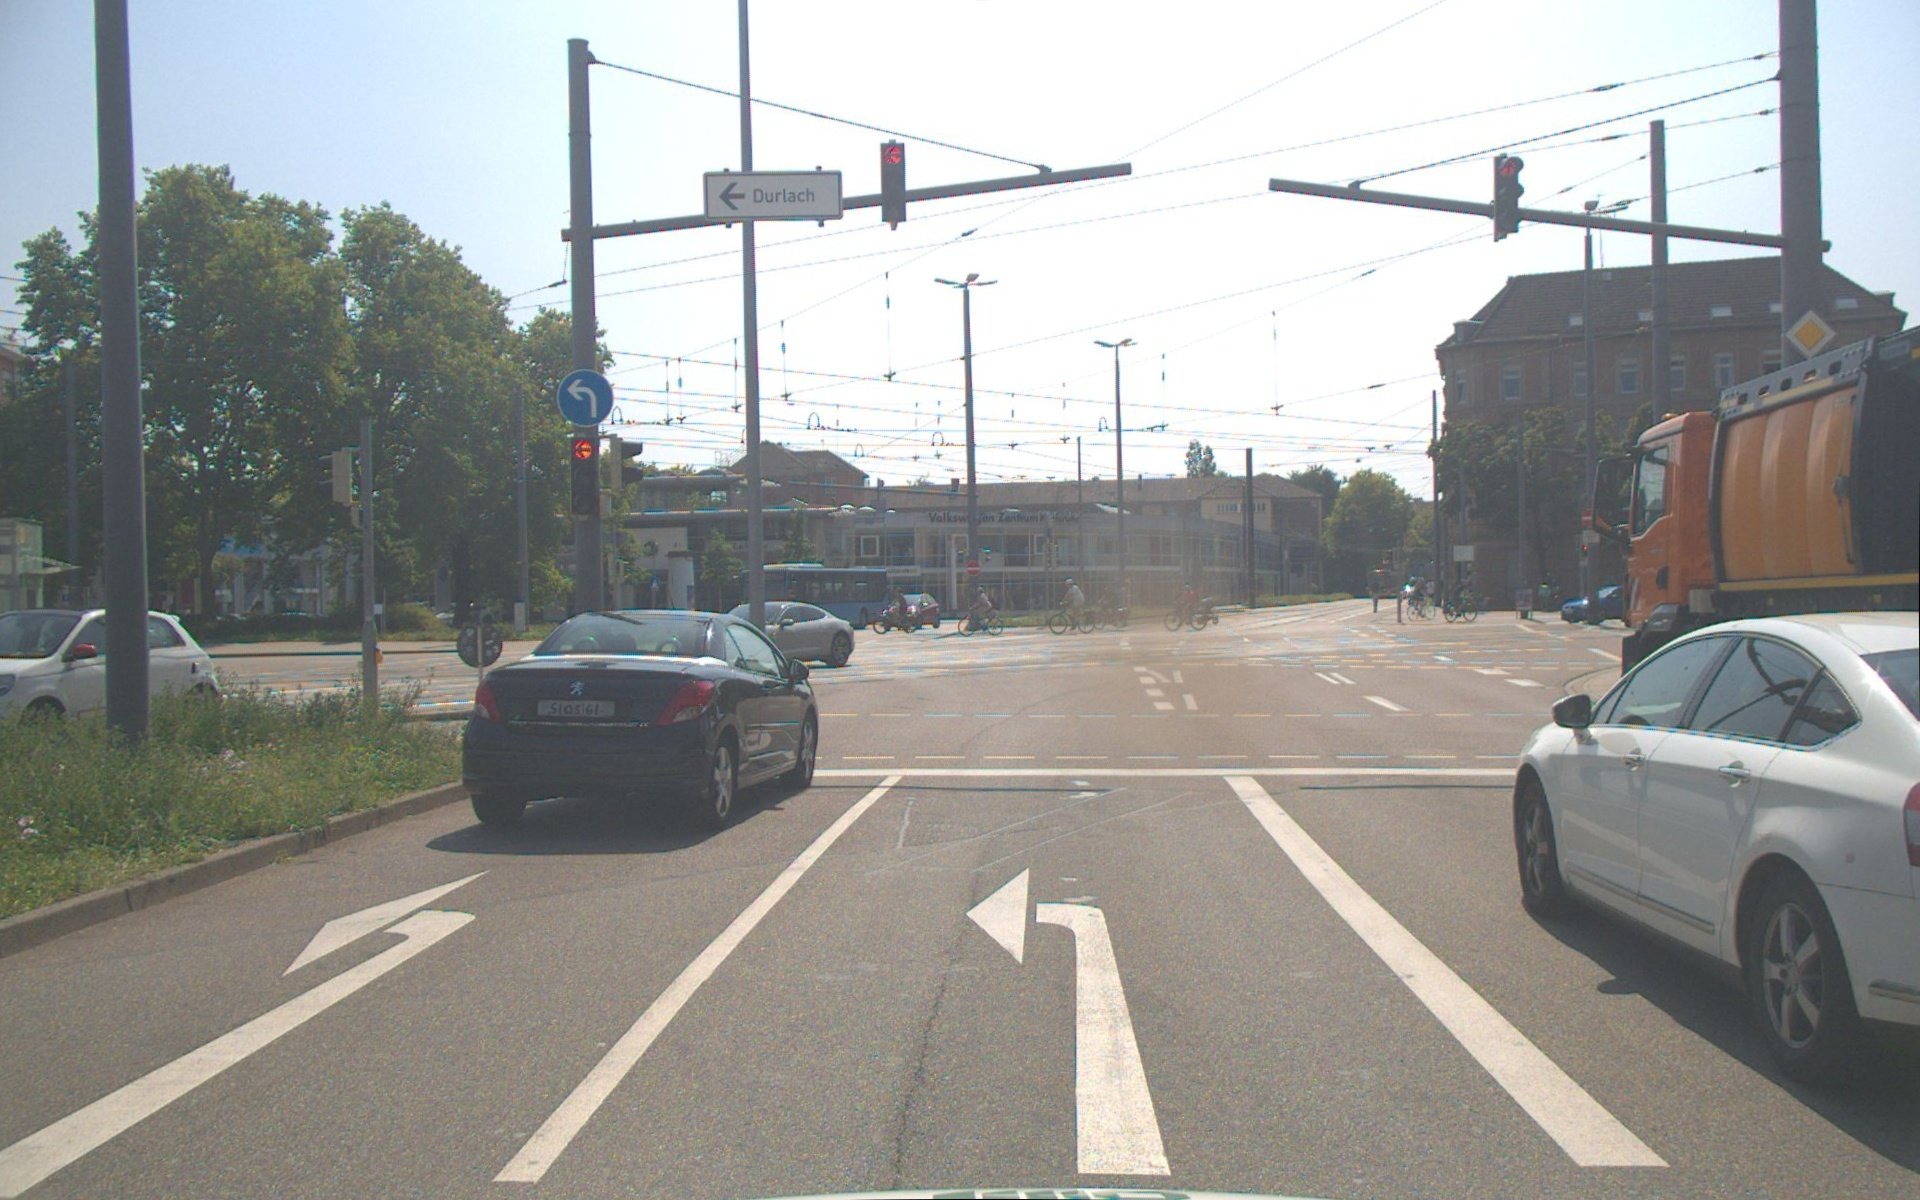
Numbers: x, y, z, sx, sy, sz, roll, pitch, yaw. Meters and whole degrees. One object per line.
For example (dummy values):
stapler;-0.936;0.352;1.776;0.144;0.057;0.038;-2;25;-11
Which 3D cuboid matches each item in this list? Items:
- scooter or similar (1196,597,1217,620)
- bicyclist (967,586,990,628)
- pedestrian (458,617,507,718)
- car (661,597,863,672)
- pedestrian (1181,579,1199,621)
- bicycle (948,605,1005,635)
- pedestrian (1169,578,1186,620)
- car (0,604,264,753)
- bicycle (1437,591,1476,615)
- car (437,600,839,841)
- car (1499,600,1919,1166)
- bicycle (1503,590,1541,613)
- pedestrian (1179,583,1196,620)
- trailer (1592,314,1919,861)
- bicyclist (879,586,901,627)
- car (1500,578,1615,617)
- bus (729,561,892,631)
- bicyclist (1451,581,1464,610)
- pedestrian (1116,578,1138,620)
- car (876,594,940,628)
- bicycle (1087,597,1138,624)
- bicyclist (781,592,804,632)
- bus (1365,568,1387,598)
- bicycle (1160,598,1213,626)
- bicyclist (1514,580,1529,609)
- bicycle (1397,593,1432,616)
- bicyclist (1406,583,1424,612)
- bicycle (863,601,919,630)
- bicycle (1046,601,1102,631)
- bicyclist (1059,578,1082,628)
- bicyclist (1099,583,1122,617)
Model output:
scooter or similar;10.741;0.358;72.105;0.818;0.991;0.793;-1;0;1
bicyclist;0.668;0.255;60.186;0.652;1.535;0.712;-1;0;-12
pedestrian;-6.366;0.888;22.064;0.586;1.290;0.503;-1;2;-16
car;-4.082;0.691;34.869;1.903;1.424;4.579;-1;0;29
pedestrian;8.729;0.008;62.766;0.648;1.561;0.715;-1;0;10
bicycle;0.600;0.711;60.169;1.943;1.036;0.712;-1;0;-12
pedestrian;9.347;-0.041;71.041;0.609;1.782;0.628;-1;0;2
car;-9.978;0.810;18.740;1.732;1.450;4.070;-1;0;14
bicycle;21.300;0.121;70.972;1.558;1.002;0.507;-1;0;19
car;-2.114;0.728;12.041;1.720;1.429;3.984;0;0;7
car;3.556;0.757;6.440;1.721;1.480;4.428;0;0;4
bicycle;24.733;0.073;72.808;1.558;1.002;0.507;-1;0;23
pedestrian;9.904;0.074;72.079;0.622;1.588;0.748;-1;0;1
trailer;6.767;-0.077;11.908;2.411;3.060;6.329;0;0;4
bicyclist;-2.818;0.261;66.862;0.748;1.662;0.760;-1;0;-12
car;23.149;-0.100;64.123;3.821;1.444;1.731;-1;0;-8
bus;-6.756;-0.226;77.562;2.990;2.982;11.857;-1;0;19
bicyclist;21.348;-0.203;70.955;0.493;1.209;0.507;-1;0;19
pedestrian;7.198;-0.030;71.455;0.767;1.782;0.809;-1;0;18
car;-2.308;0.490;74.335;1.691;1.444;3.842;-1;0;17
bicycle;6.170;0.438;67.108;1.950;1.036;0.710;-1;0;-23
bicyclist;-6.694;0.482;65.971;0.785;1.568;0.759;-1;0;-16
bus;50.083;-2.056;199.121;2.507;3.567;7.807;-1;0;15
bicycle;8.594;0.449;62.789;1.935;1.036;0.715;-1;0;10
bicyclist;24.729;-0.258;72.813;0.582;1.269;0.507;-1;0;23
bicycle;20.311;0.191;73.900;1.572;1.002;0.503;-1;0;-27
bicyclist;20.320;-0.106;73.912;0.587;1.269;0.503;-1;0;-27
bicycle;-2.777;0.628;66.873;2.159;1.106;0.760;-1;0;-13
bicycle;4.182;0.593;60.955;1.941;1.036;0.713;-1;0;-8
bicyclist;4.067;0.110;60.934;0.691;1.794;0.713;-1;0;-8
bicyclist;6.110;0.004;67.085;0.659;1.374;0.707;-1;0;-22
